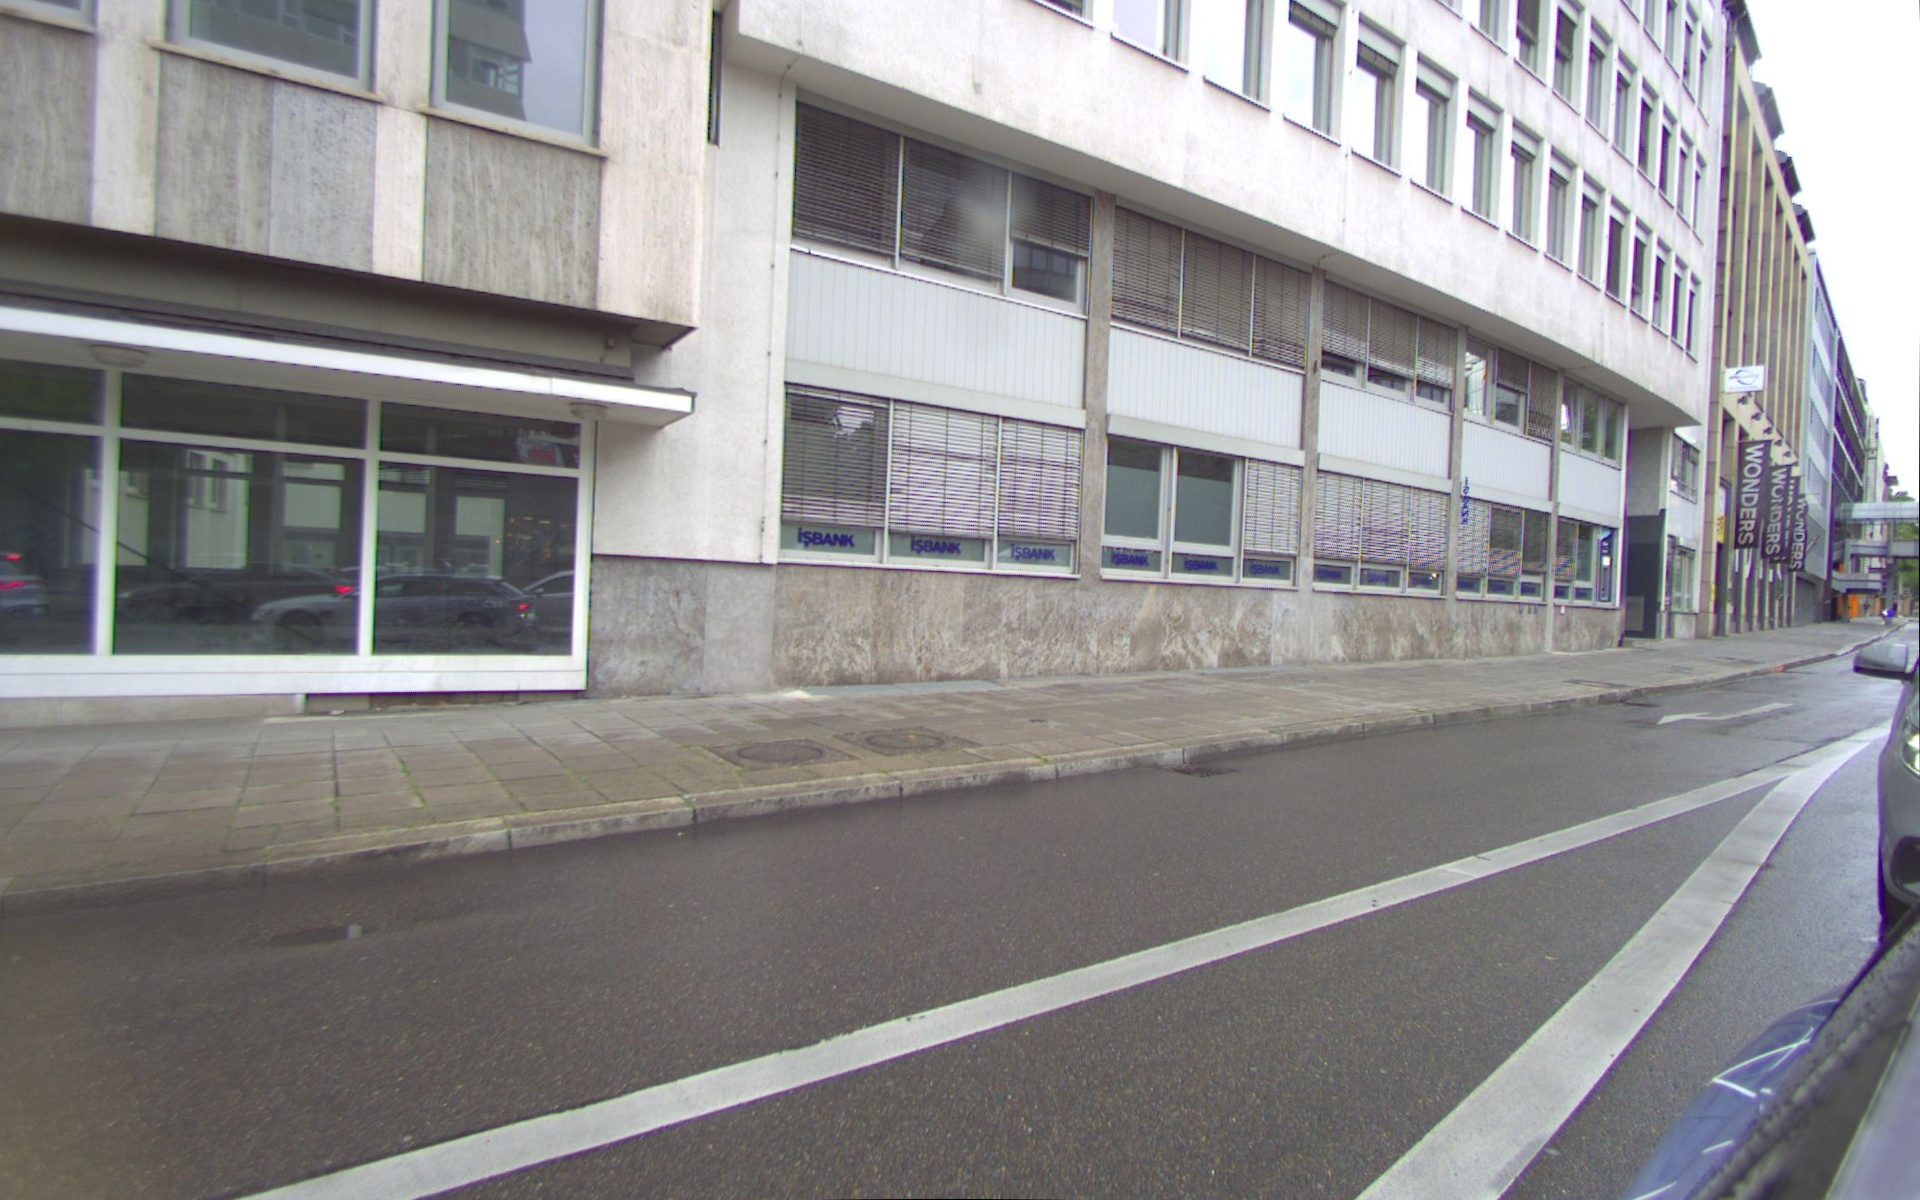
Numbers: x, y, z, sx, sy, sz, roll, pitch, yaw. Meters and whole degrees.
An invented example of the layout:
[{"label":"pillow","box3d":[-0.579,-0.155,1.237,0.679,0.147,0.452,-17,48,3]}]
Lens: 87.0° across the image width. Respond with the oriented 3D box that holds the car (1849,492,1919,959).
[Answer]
[{"label":"car","box3d":[6.185,0.517,5.181,4.940,1.879,1.914,0,0,-42]}]
